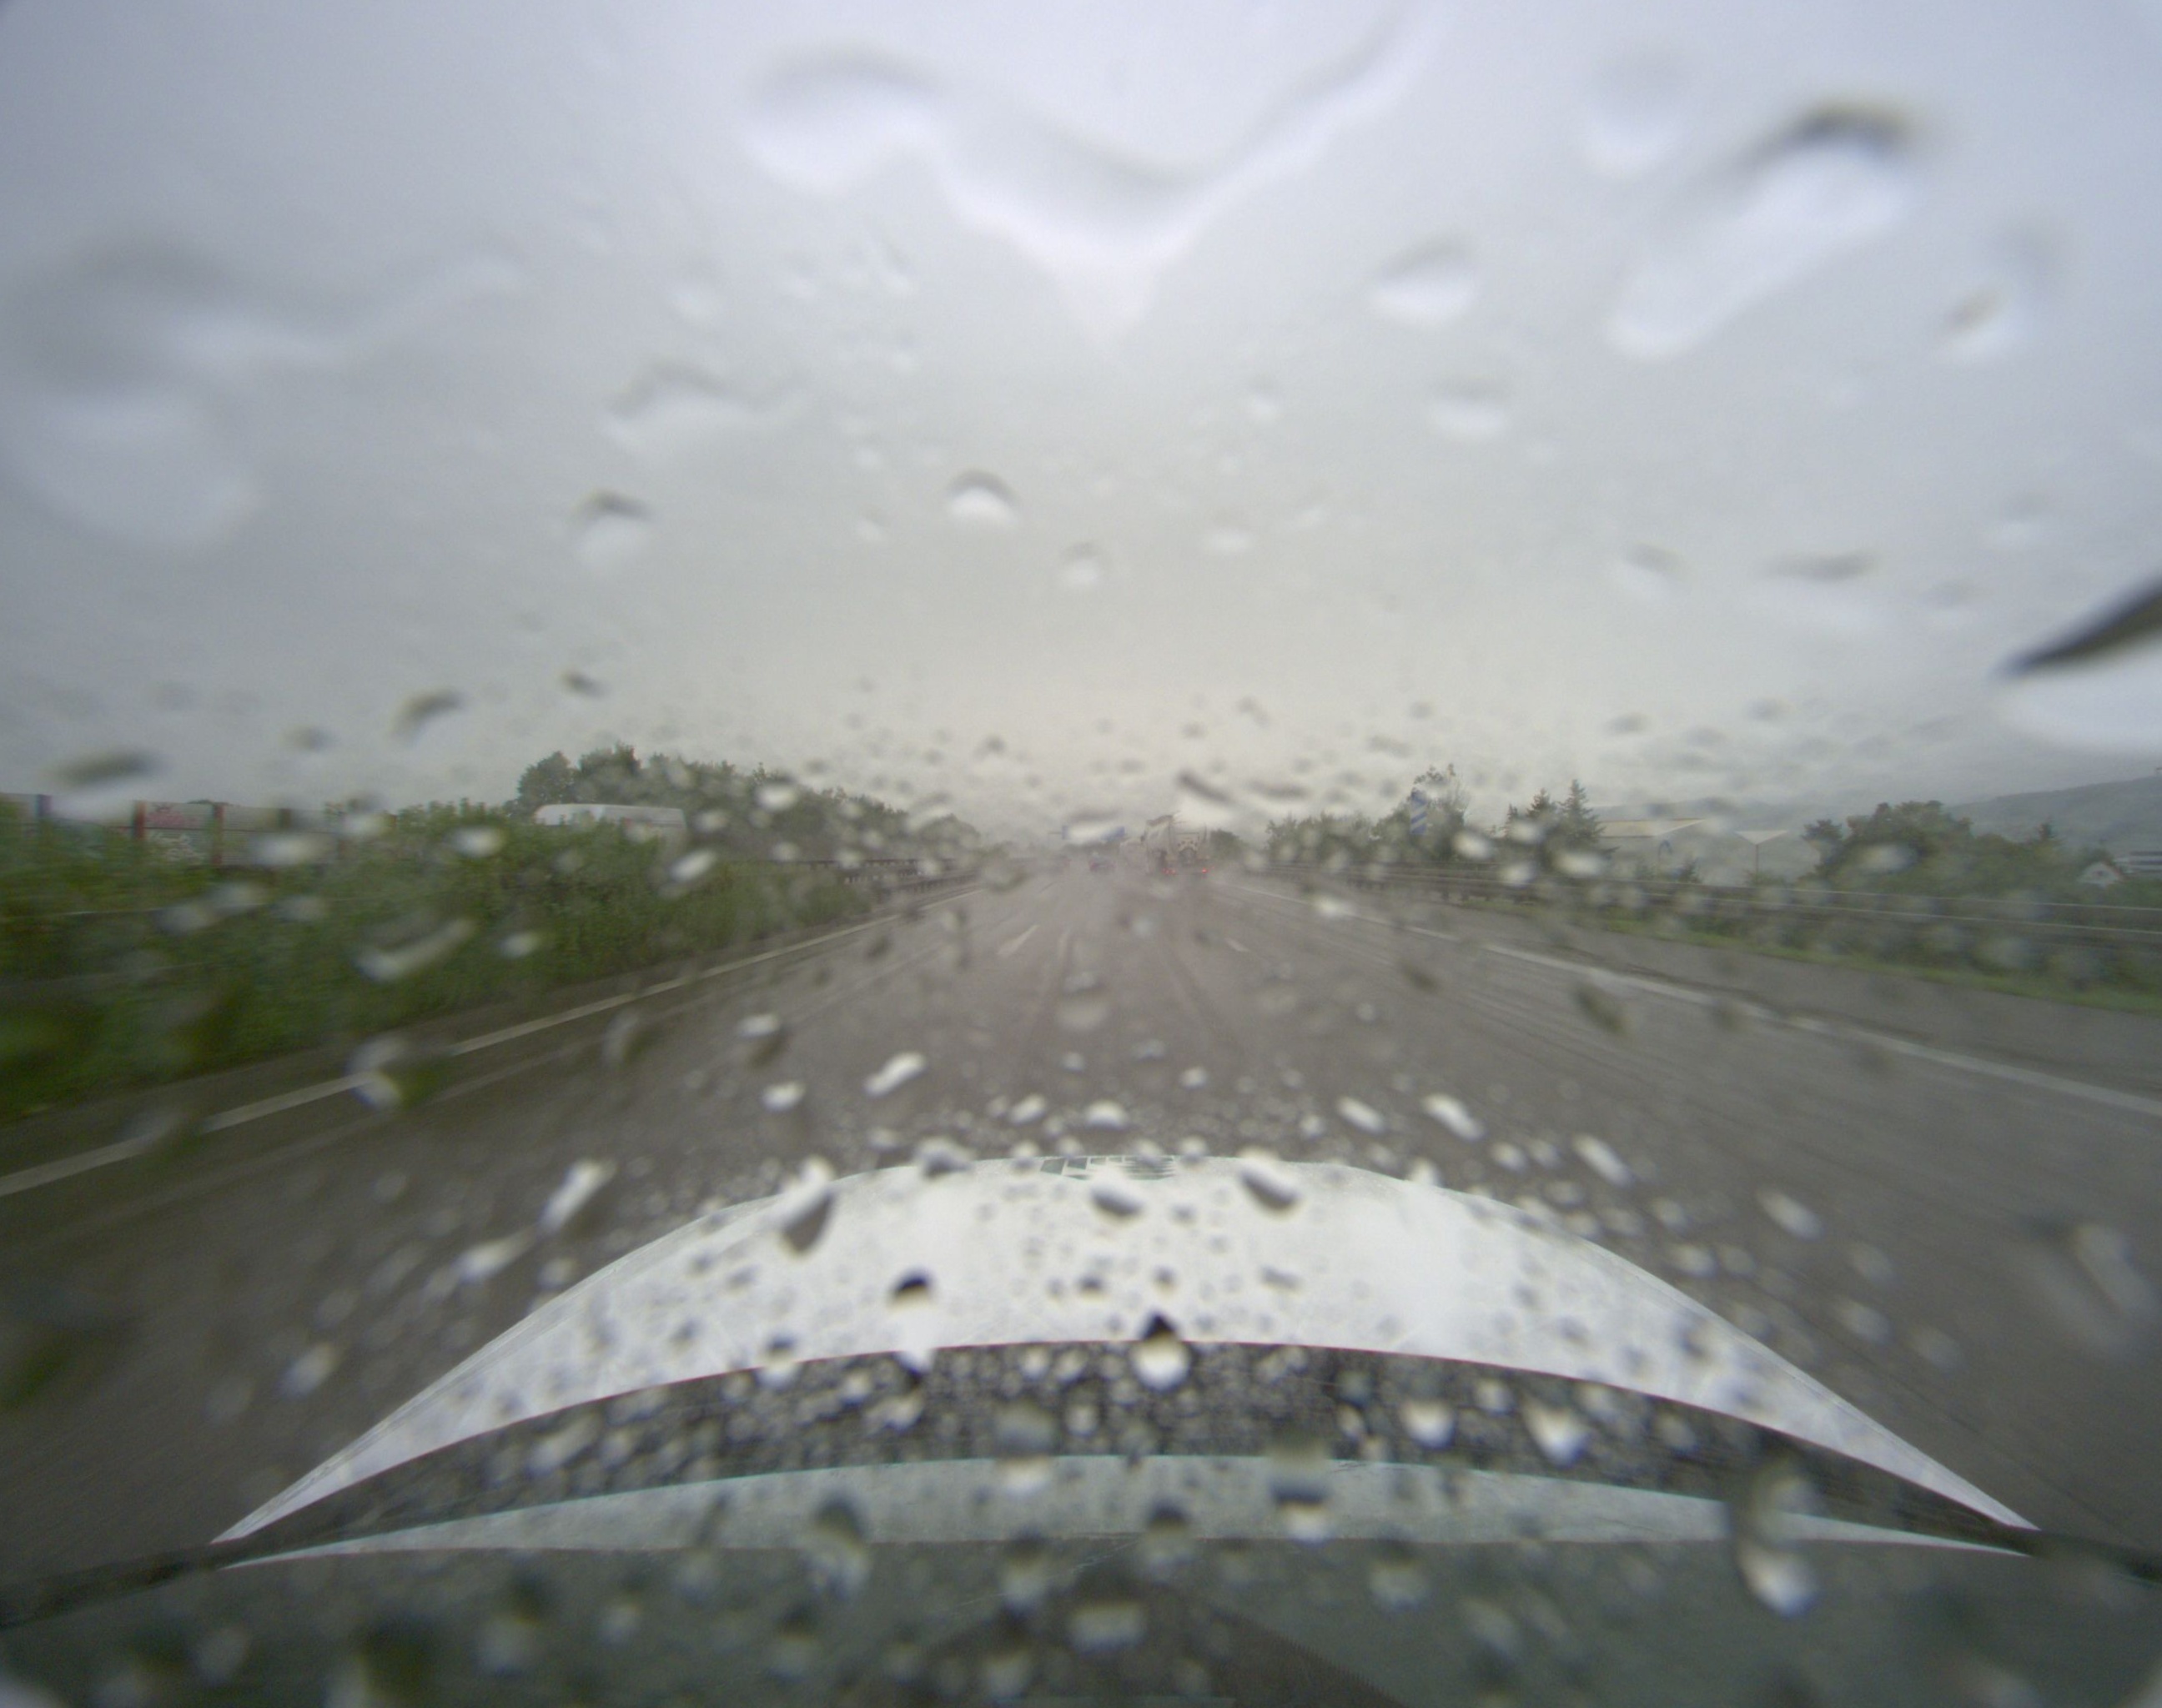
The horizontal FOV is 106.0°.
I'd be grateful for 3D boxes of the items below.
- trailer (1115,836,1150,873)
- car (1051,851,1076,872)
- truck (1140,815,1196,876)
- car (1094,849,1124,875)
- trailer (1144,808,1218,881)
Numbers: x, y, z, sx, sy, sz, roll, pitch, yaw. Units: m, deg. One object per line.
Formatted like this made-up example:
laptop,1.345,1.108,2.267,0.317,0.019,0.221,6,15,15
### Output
trailer,5.504,0.042,88.874,2.996,3.848,8.617,-1,0,-2
car,-1.439,0.615,69.862,1.918,1.741,4.405,0,0,1
truck,5.717,-0.536,54.690,3.093,3.806,7.214,-1,0,1
car,2.019,0.541,57.364,1.970,1.756,4.486,-1,0,4
trailer,5.571,-0.489,47.508,3.177,3.670,11.670,-1,0,1
